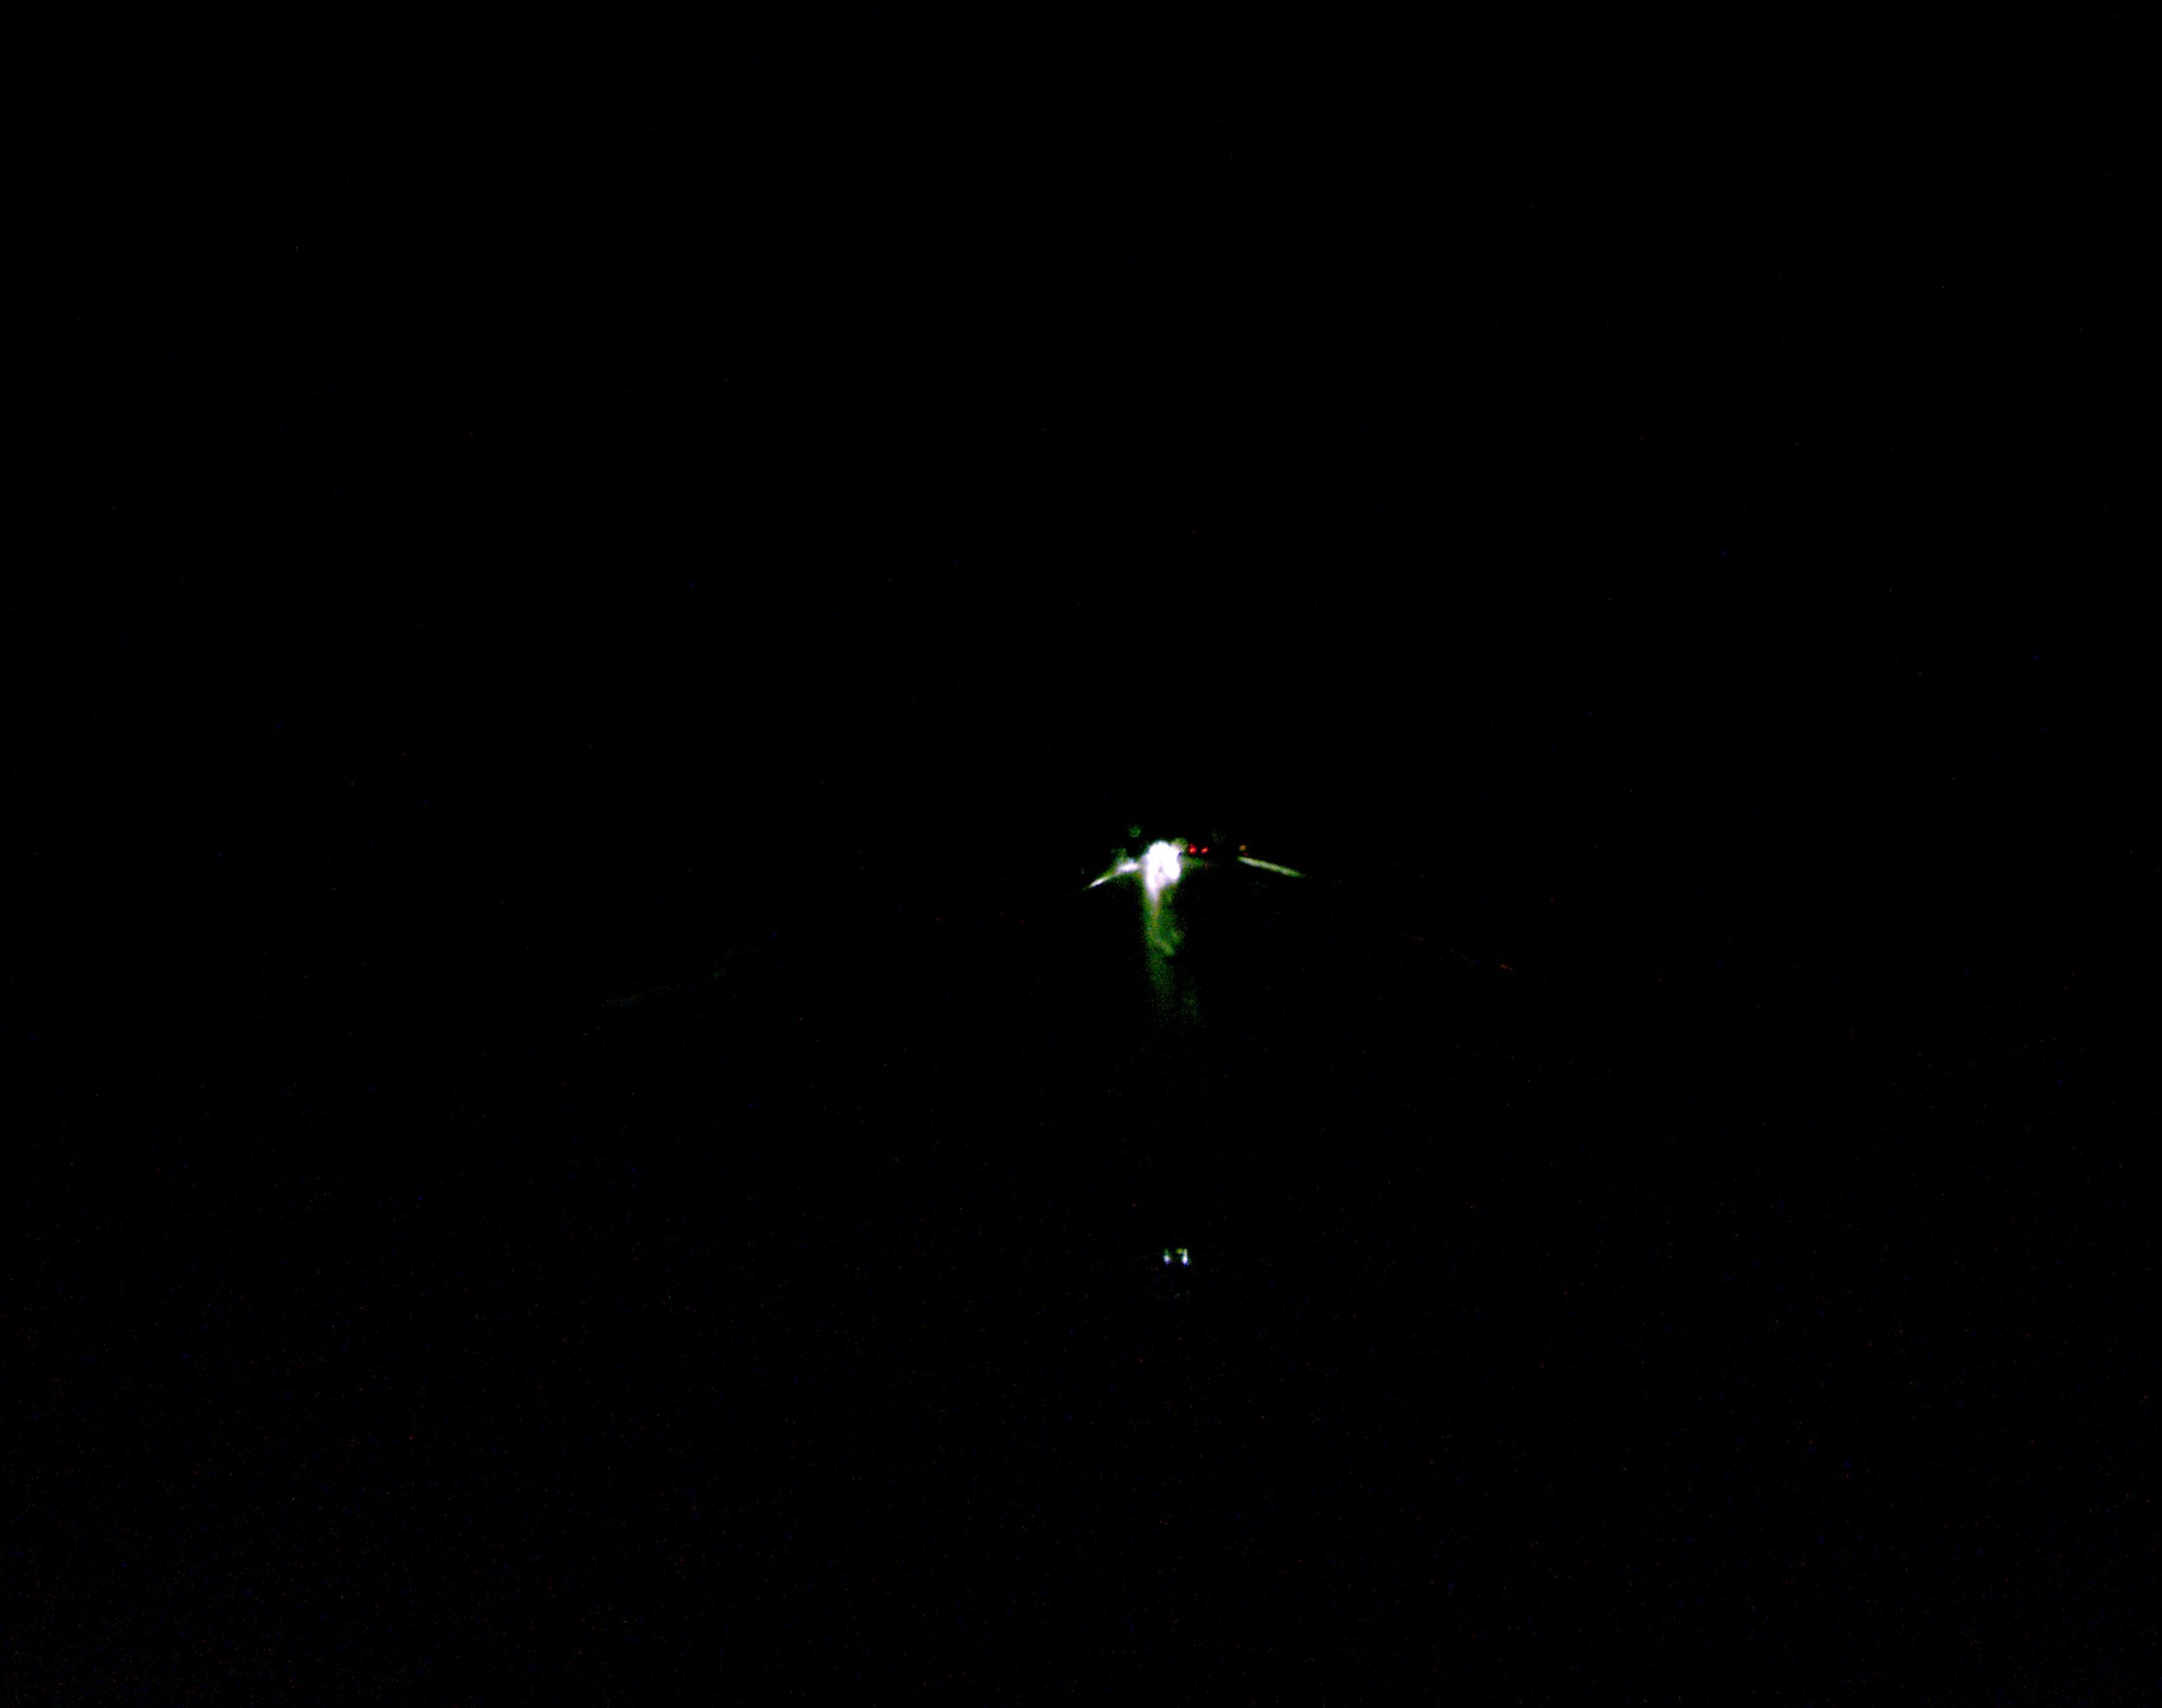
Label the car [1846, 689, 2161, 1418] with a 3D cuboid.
[{"bbox_3d":[3.789,0.501,0.761,1.998,1.915,3.999,-3,1,1],"label":"car"}]

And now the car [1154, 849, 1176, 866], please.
[{"bbox_3d":[8.116,0.281,73.556,1.806,1.452,4.278,-3,1,9],"label":"car"}]

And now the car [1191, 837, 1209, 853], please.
[{"bbox_3d":[14.508,-1.102,93.003,1.997,1.740,4.259,-3,1,7],"label":"car"}]
